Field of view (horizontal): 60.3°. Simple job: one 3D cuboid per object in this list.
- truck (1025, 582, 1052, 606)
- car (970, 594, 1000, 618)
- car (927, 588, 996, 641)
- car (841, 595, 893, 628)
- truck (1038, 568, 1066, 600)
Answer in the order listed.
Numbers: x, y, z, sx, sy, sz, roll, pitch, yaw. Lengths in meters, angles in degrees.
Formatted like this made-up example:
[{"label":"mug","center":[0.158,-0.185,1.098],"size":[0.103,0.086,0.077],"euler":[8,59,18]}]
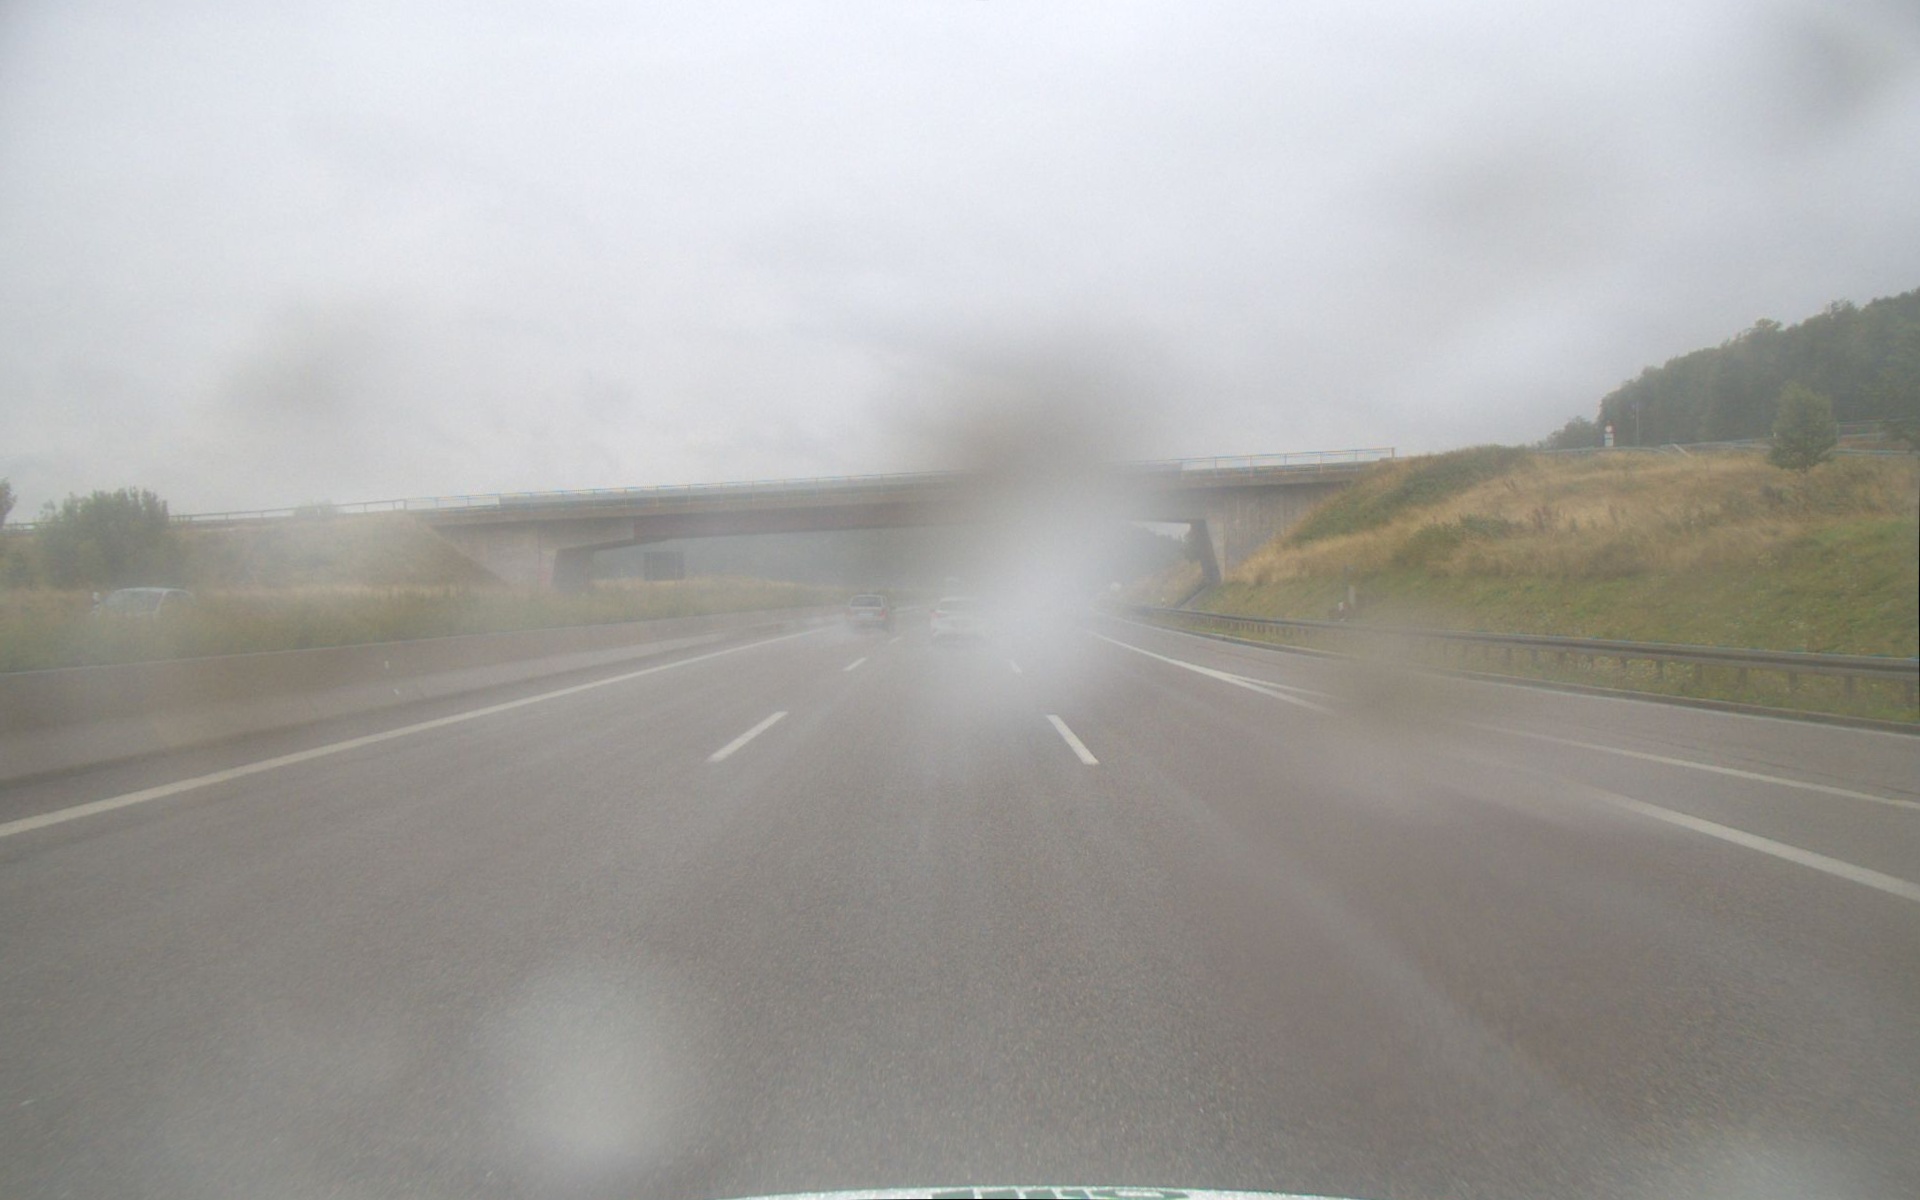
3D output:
[{"label":"truck","center":[7.486,-0.575,157.570],"size":[2.357,2.291,4.696],"euler":[0,0,5]},{"label":"car","center":[1.748,0.387,114.941],"size":[1.952,1.646,4.002],"euler":[0,0,3]},{"label":"car","center":[0.006,0.430,48.581],"size":[1.830,1.488,3.998],"euler":[0,0,-2]},{"label":"car","center":[-3.470,0.447,62.527],"size":[1.787,1.177,4.211],"euler":[1,-1,-1]},{"label":"truck","center":[11.599,-2.073,209.273],"size":[3.454,3.808,11.431],"euler":[1,1,3]}]
